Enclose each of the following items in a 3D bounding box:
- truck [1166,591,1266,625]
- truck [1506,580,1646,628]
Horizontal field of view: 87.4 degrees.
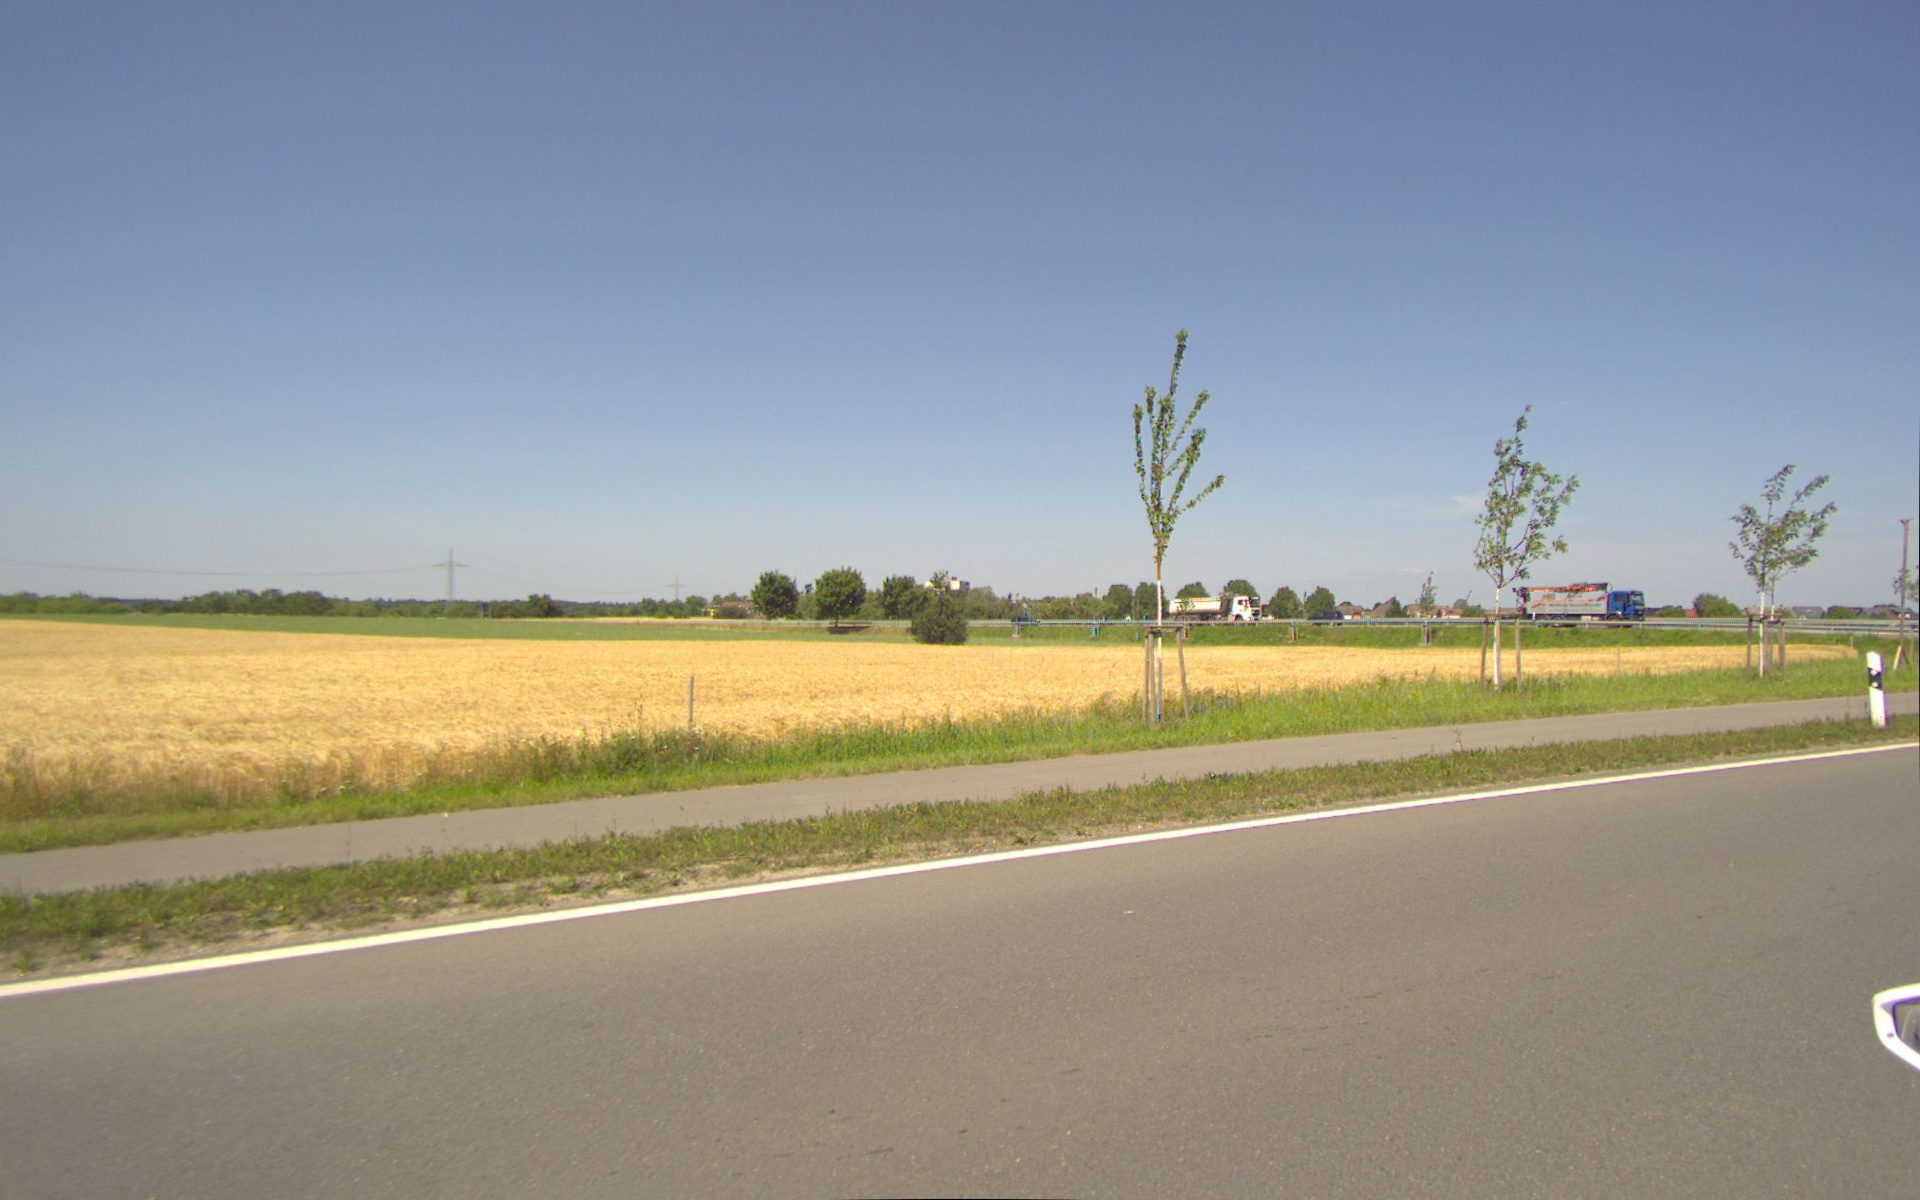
[{"bbox_3d":[29.108,0.801,114.985,2.955,3.663,11.900,0,0,-37],"label":"truck"},{"bbox_3d":[52.469,0.270,85.955,2.601,3.844,10.008,0,0,-36],"label":"truck"}]
